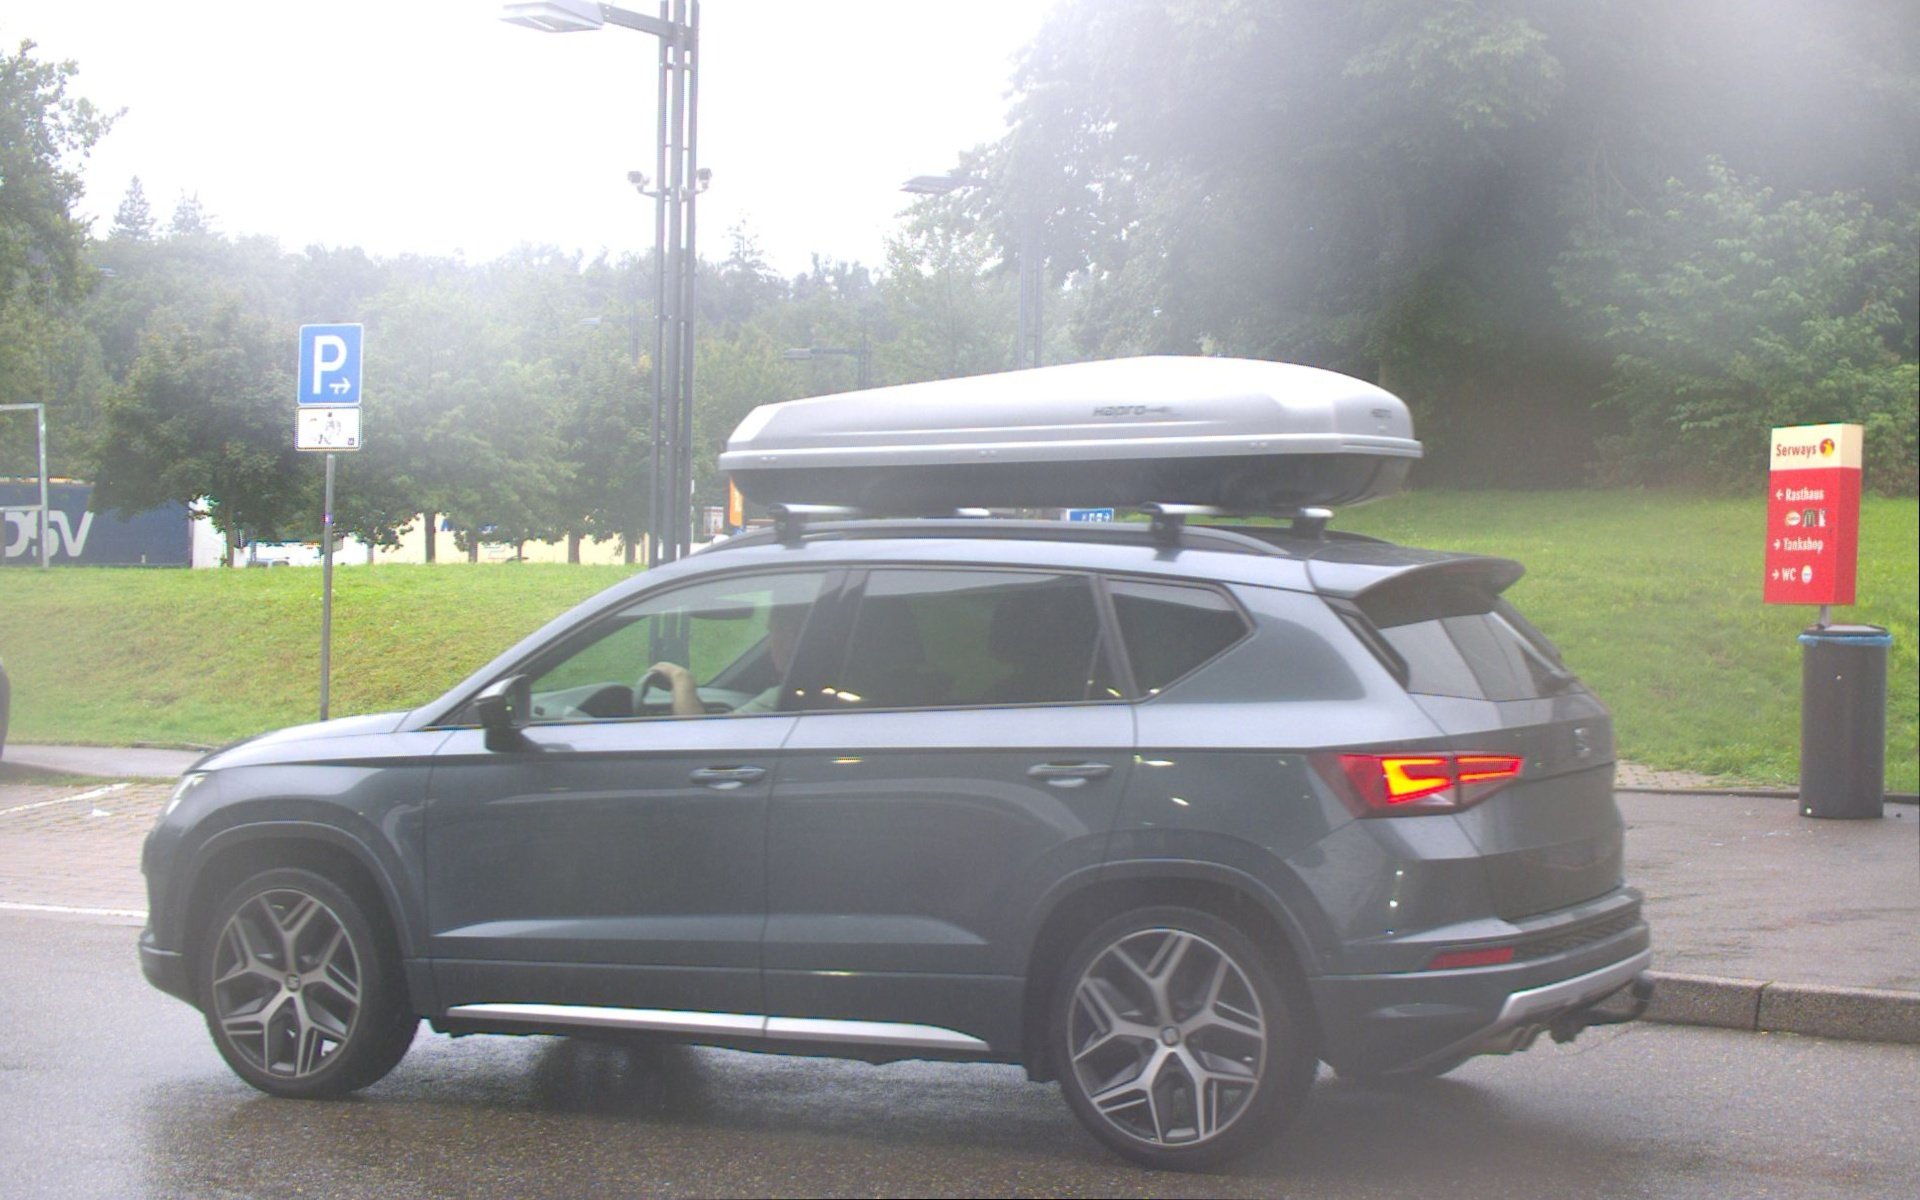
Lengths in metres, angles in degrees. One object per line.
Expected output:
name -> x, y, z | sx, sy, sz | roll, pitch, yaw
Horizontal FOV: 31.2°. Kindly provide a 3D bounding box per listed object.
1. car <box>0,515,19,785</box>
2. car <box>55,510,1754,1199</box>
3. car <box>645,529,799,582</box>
car -> -7.769, 0.376, 21.440 | 1.885, 1.821, 4.411 | 0, 1, 11
car -> -0.191, 0.564, 9.527 | 4.318, 1.582, 1.888 | 1, 1, 27
car -> -9.253, -1.733, 133.768 | 5.429, 2.007, 2.453 | 1, 1, 20
